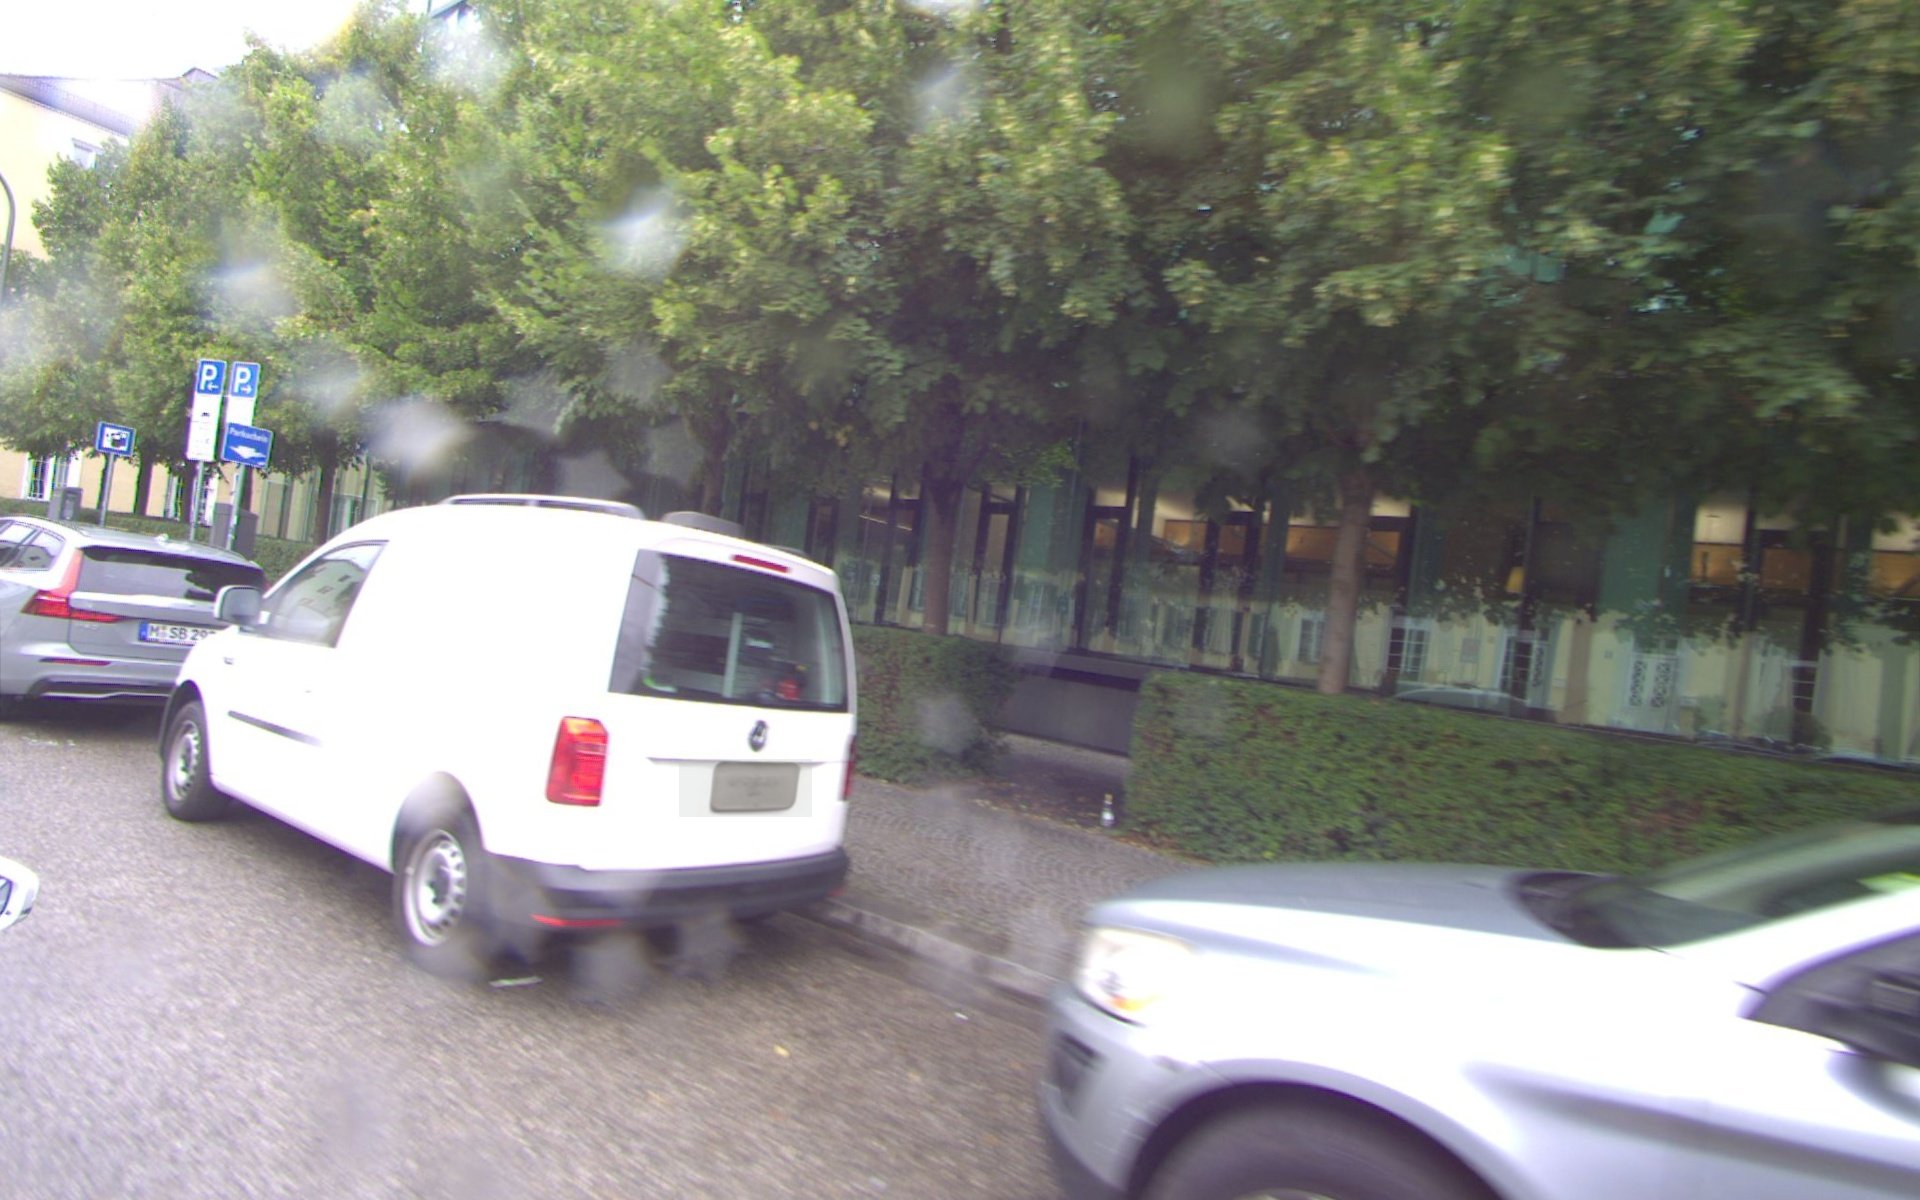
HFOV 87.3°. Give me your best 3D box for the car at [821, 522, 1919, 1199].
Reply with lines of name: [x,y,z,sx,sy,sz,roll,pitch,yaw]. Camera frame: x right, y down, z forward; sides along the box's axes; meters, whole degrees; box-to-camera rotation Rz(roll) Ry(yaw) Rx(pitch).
car: [2.219,1.003,1.726,4.708,1.710,1.871,7,-2,34]

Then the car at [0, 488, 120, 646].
car: [-11.988,-0.602,11.869,4.774,1.570,1.964,7,-3,36]

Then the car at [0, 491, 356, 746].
car: [-7.372,0.000,8.407,4.925,1.570,1.950,7,-2,34]

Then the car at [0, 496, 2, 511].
car: [-16.380,-1.104,14.923,4.877,1.476,1.997,7,-2,34]

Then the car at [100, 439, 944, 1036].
car: [-2.521,0.331,5.251,4.502,1.917,1.787,7,-2,35]
